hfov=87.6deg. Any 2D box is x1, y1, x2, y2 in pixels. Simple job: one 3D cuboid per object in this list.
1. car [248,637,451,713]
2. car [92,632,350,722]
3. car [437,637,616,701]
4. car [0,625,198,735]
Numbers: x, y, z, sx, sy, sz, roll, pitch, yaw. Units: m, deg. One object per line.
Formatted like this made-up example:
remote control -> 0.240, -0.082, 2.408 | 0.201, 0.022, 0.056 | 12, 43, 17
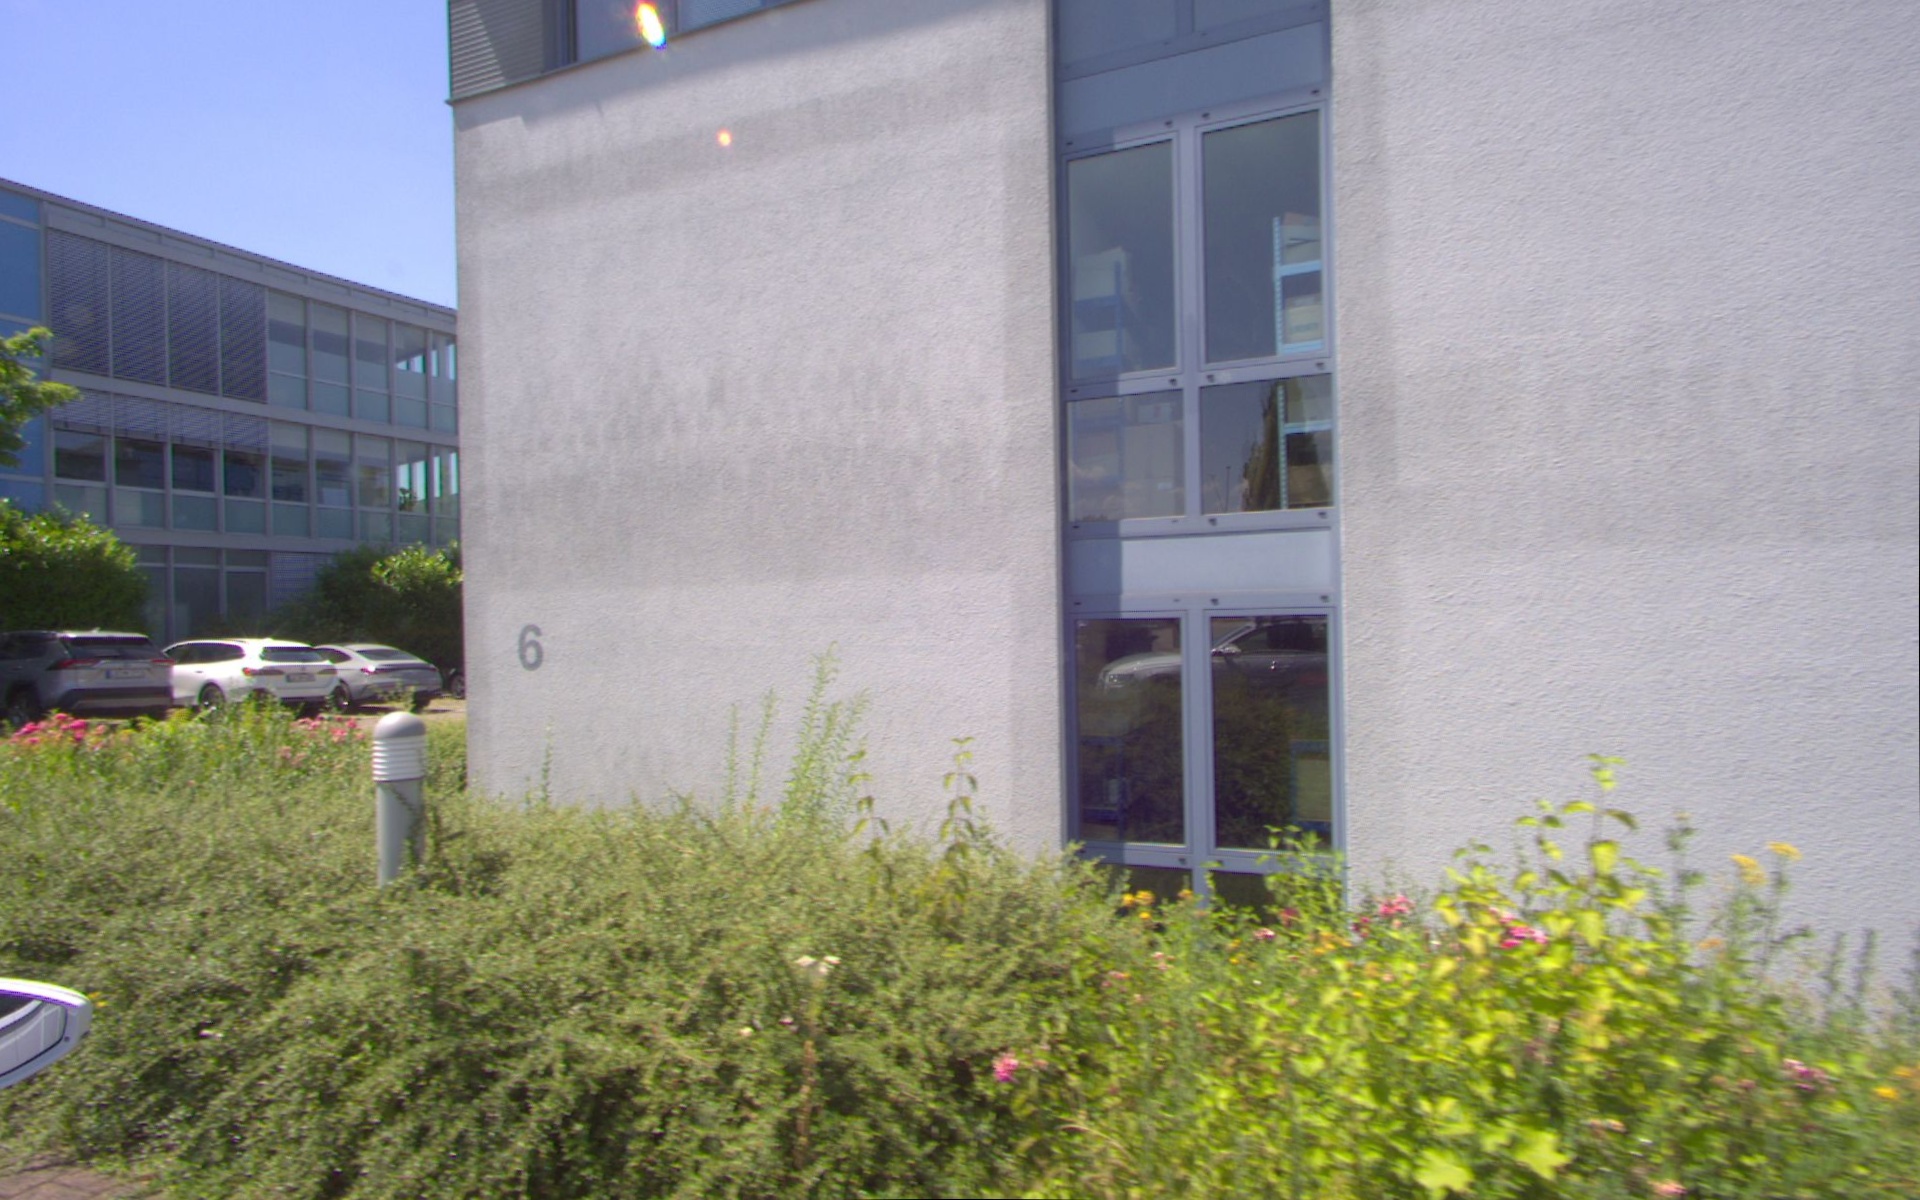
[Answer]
car -> -13.110, 1.561, 21.481 | 4.271, 1.447, 1.736 | 0, -2, 27
car -> -13.999, 1.409, 19.001 | 4.261, 1.510, 1.740 | 0, -2, 18
car -> -11.090, 1.712, 25.581 | 4.477, 1.465, 1.736 | 0, -2, 27
car -> -15.199, 1.255, 16.729 | 4.261, 1.641, 1.823 | 0, -1, 18
